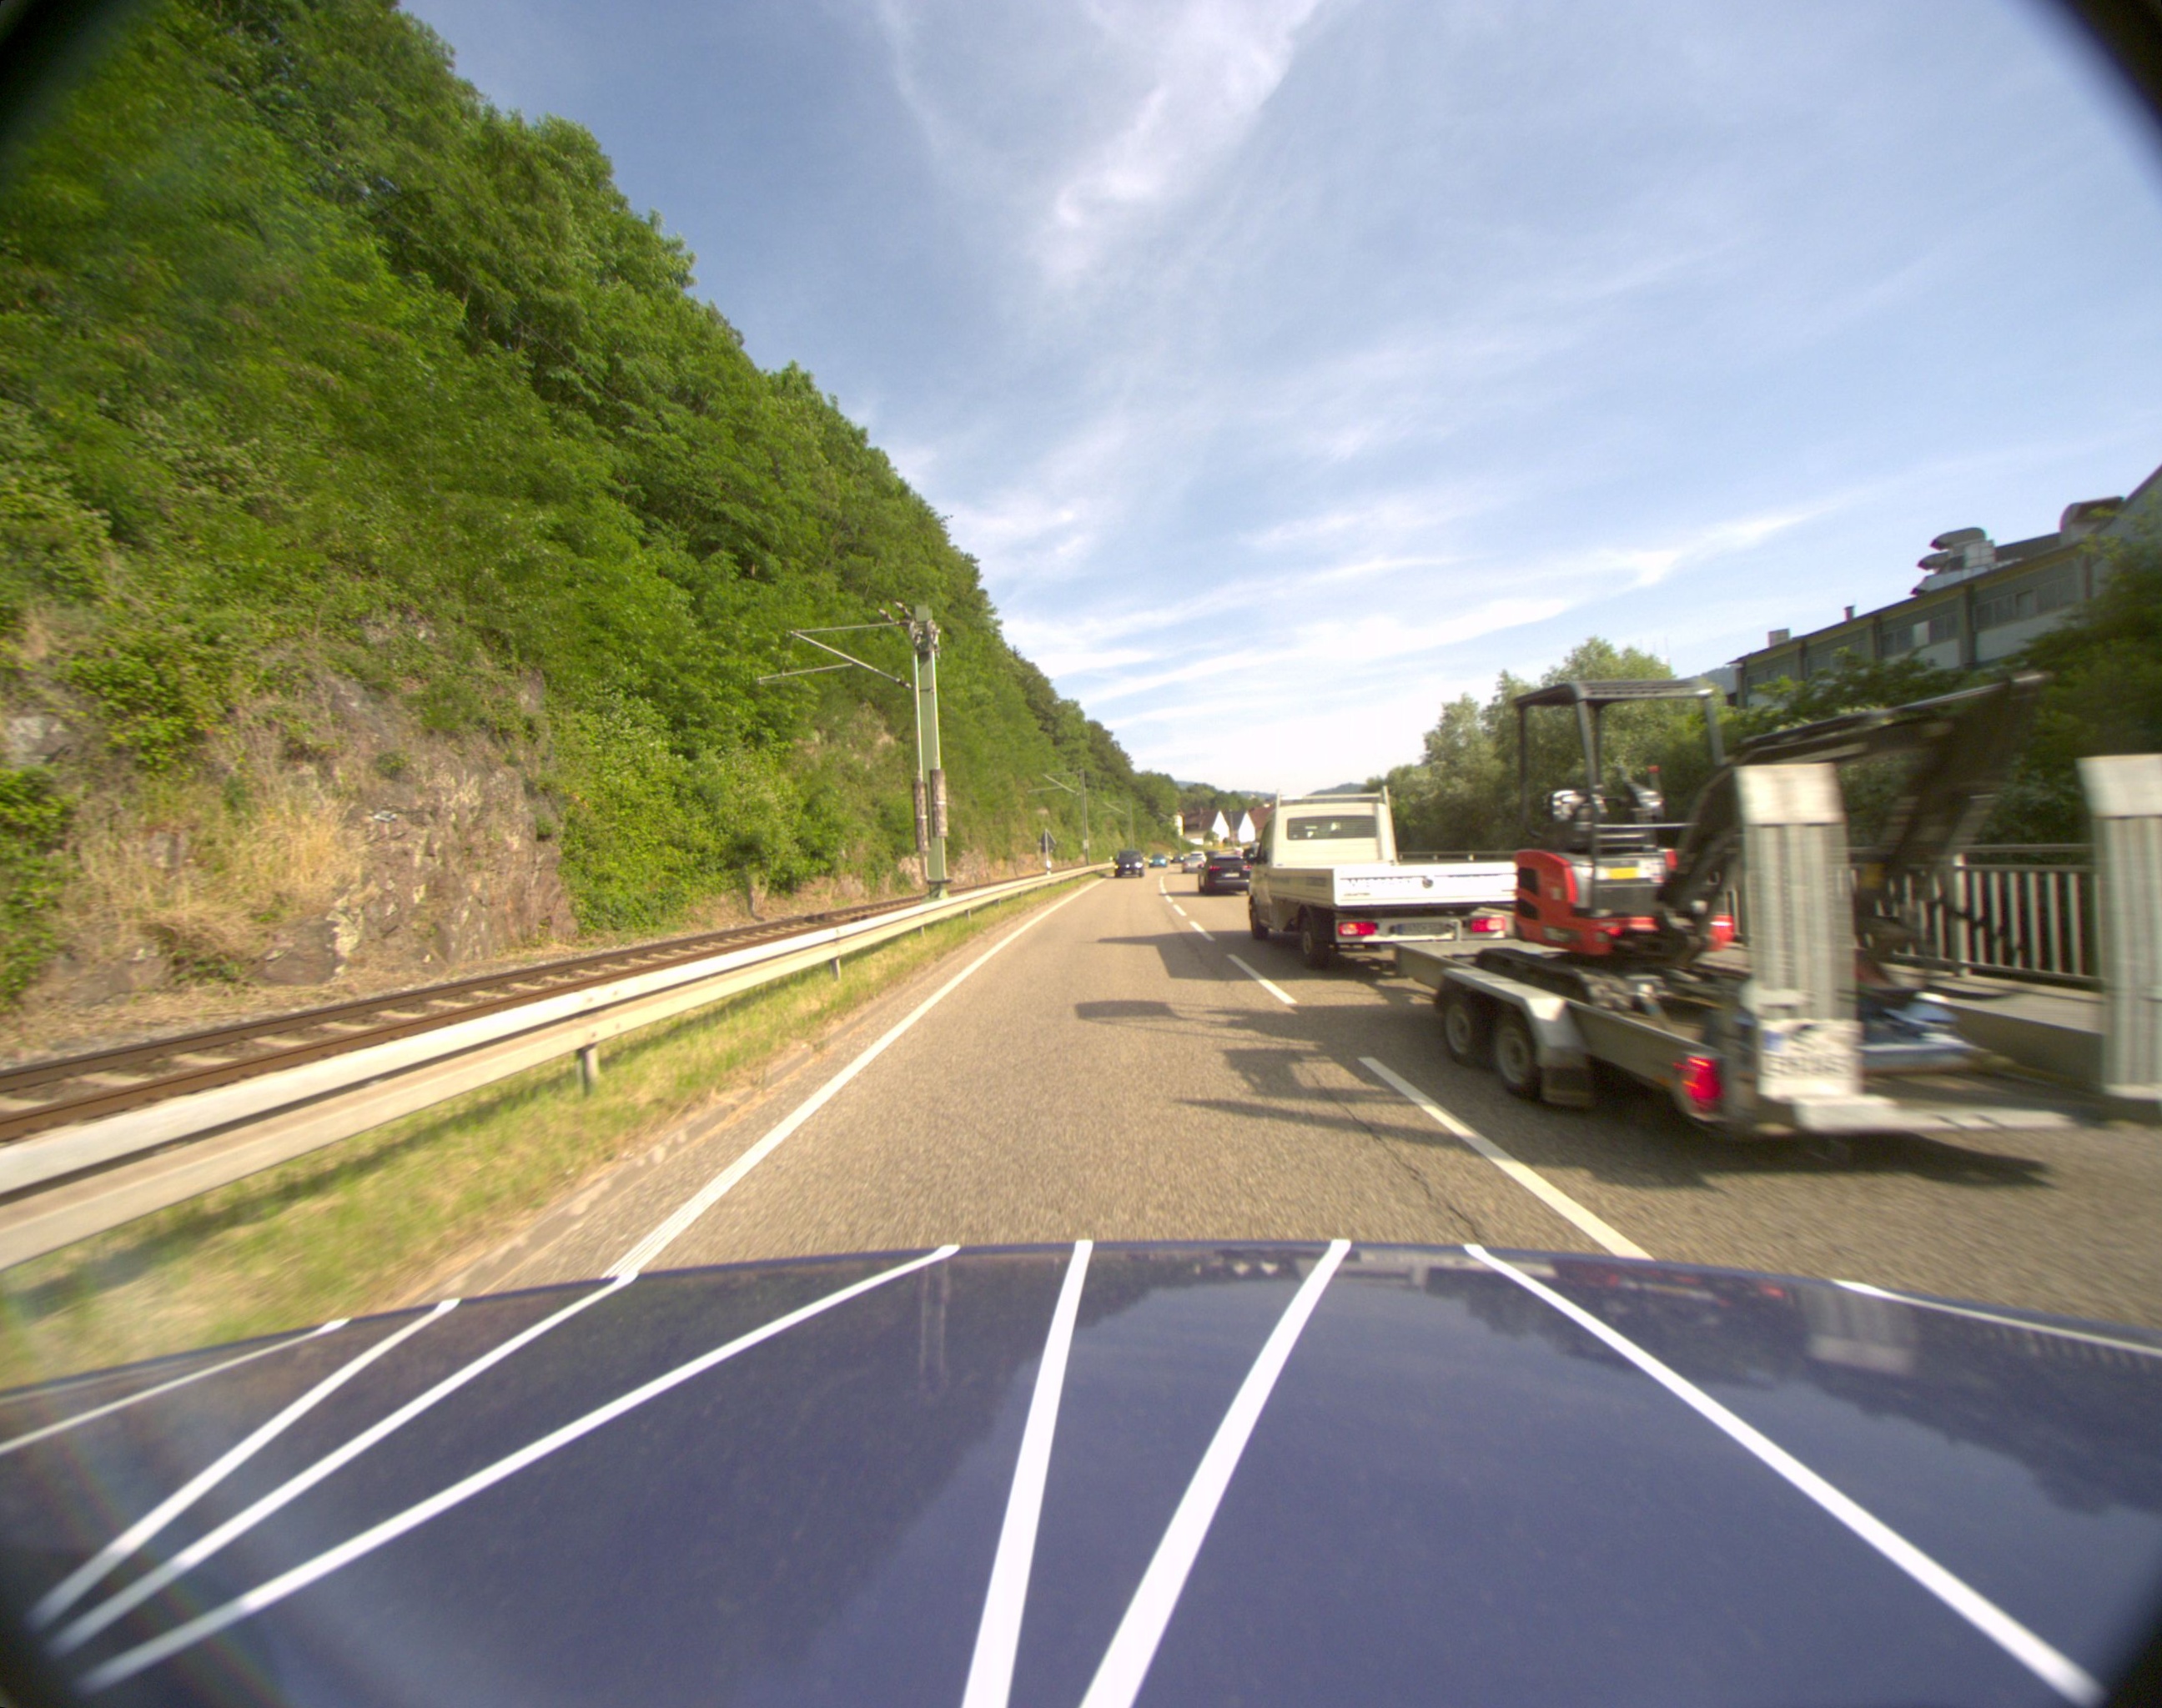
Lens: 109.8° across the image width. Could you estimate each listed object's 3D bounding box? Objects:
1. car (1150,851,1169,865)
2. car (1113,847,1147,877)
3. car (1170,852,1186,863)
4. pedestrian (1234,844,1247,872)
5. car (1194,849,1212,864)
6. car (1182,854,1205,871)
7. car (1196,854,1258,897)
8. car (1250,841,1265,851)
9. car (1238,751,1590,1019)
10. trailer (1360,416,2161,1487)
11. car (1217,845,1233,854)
[{"bbox_3d":[8.536,0.402,82.128,1.748,1.424,3.334,0,0,11],"label":"car"},{"bbox_3d":[3.467,0.545,53.020,1.908,1.868,4.350,-4,-1,8],"label":"car"},{"bbox_3d":[13.075,0.448,102.319,1.650,1.424,3.336,0,0,15],"label":"car"},{"bbox_3d":[10.603,0.238,50.422,0.719,1.808,0.877,-2,1,7],"label":"pedestrian"},{"bbox_3d":[12.991,0.231,81.254,1.724,1.575,3.502,0,0,6],"label":"car"},{"bbox_3d":[8.875,0.660,60.145,1.588,1.302,3.502,0,0,5],"label":"car"},{"bbox_3d":[5.486,0.763,28.971,1.794,1.470,3.862,-2,0,3],"label":"car"},{"bbox_3d":[33.736,-1.570,145.120,1.995,1.849,4.006,-2,1,24],"label":"car"},{"bbox_3d":[3.884,0.295,10.617,2.163,2.517,6.578,-2,0,2],"label":"car"},{"bbox_3d":[3.687,0.215,4.563,2.126,2.700,5.348,-2,0,2],"label":"trailer"},{"bbox_3d":[28.160,-0.822,148.687,1.995,1.671,4.007,0,0,28],"label":"car"}]
